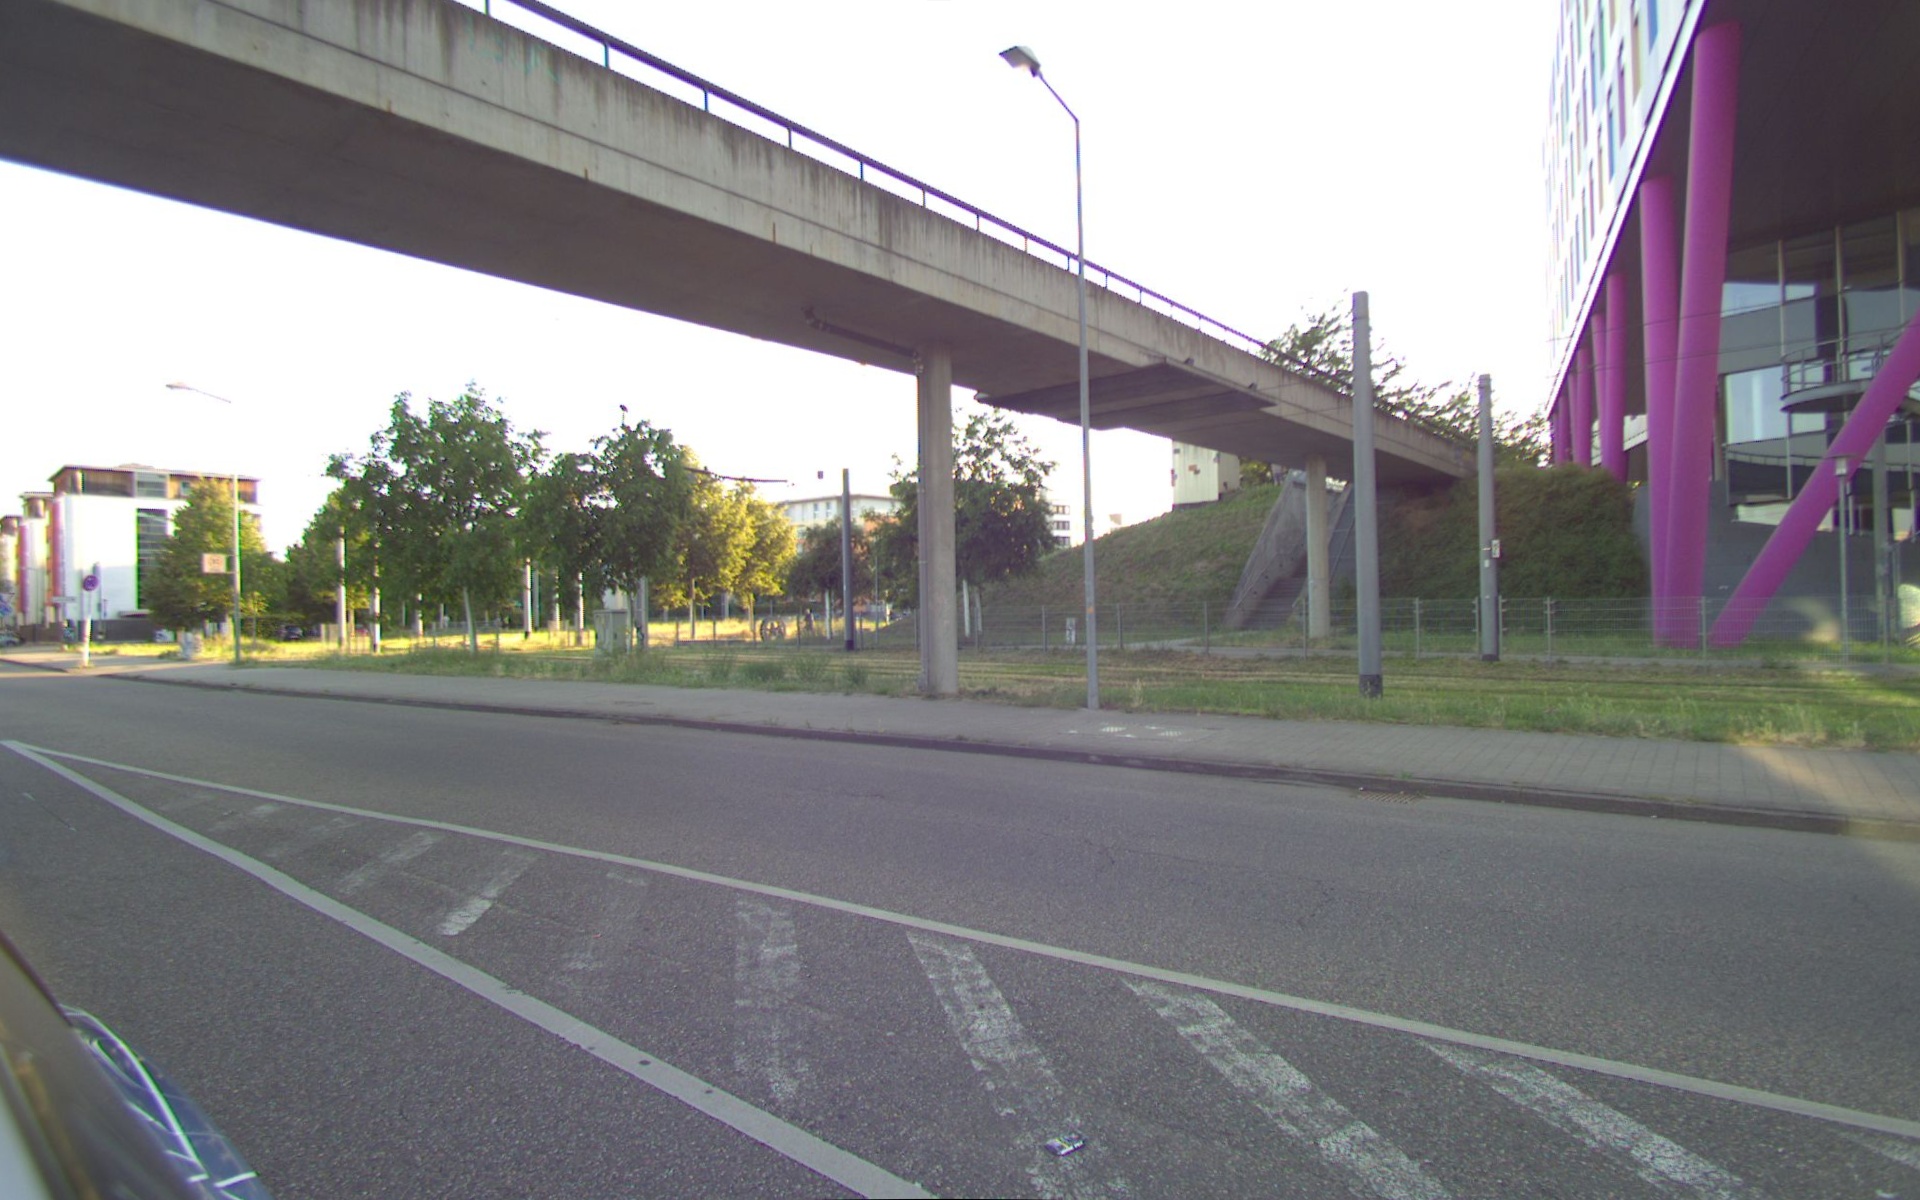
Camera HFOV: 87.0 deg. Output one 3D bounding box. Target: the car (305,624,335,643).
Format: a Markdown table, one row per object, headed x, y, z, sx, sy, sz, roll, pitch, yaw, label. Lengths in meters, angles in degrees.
| x | y | z | sx | sy | sz | roll | pitch | yaw | label |
| --- | --- | --- | --- | --- | --- | --- | --- | --- | --- |
| -54.962 | 2.872 | 86.870 | 1.913 | 1.541 | 4.009 | -1 | -1 | -36 | car |

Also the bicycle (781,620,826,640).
| x | y | z | sx | sy | sz | roll | pitch | yaw | label |
| --- | --- | --- | --- | --- | --- | --- | --- | --- | --- |
| -8.726 | 1.666 | 56.576 | 0.654 | 1.016 | 2.808 | -2 | -1 | 36 | bicycle |

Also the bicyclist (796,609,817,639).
| x | y | z | sx | sy | sz | roll | pitch | yaw | label |
| --- | --- | --- | --- | --- | --- | --- | --- | --- | --- |
| -8.613 | 1.351 | 56.787 | 0.716 | 1.644 | 0.899 | -2 | -1 | 36 | bicyclist |

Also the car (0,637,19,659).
| x | y | z | sx | sy | sz | roll | pitch | yaw | label |
| --- | --- | --- | --- | --- | --- | --- | --- | --- | --- |
| -80.346 | 3.979 | 83.394 | 2.000 | 1.741 | 3.944 | -2 | -1 | 42 | car |

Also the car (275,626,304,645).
| x | y | z | sx | sy | sz | roll | pitch | yaw | label |
| --- | --- | --- | --- | --- | --- | --- | --- | --- | --- |
| -56.642 | 3.003 | 85.444 | 1.913 | 1.541 | 4.009 | -1 | -1 | -36 | car |
